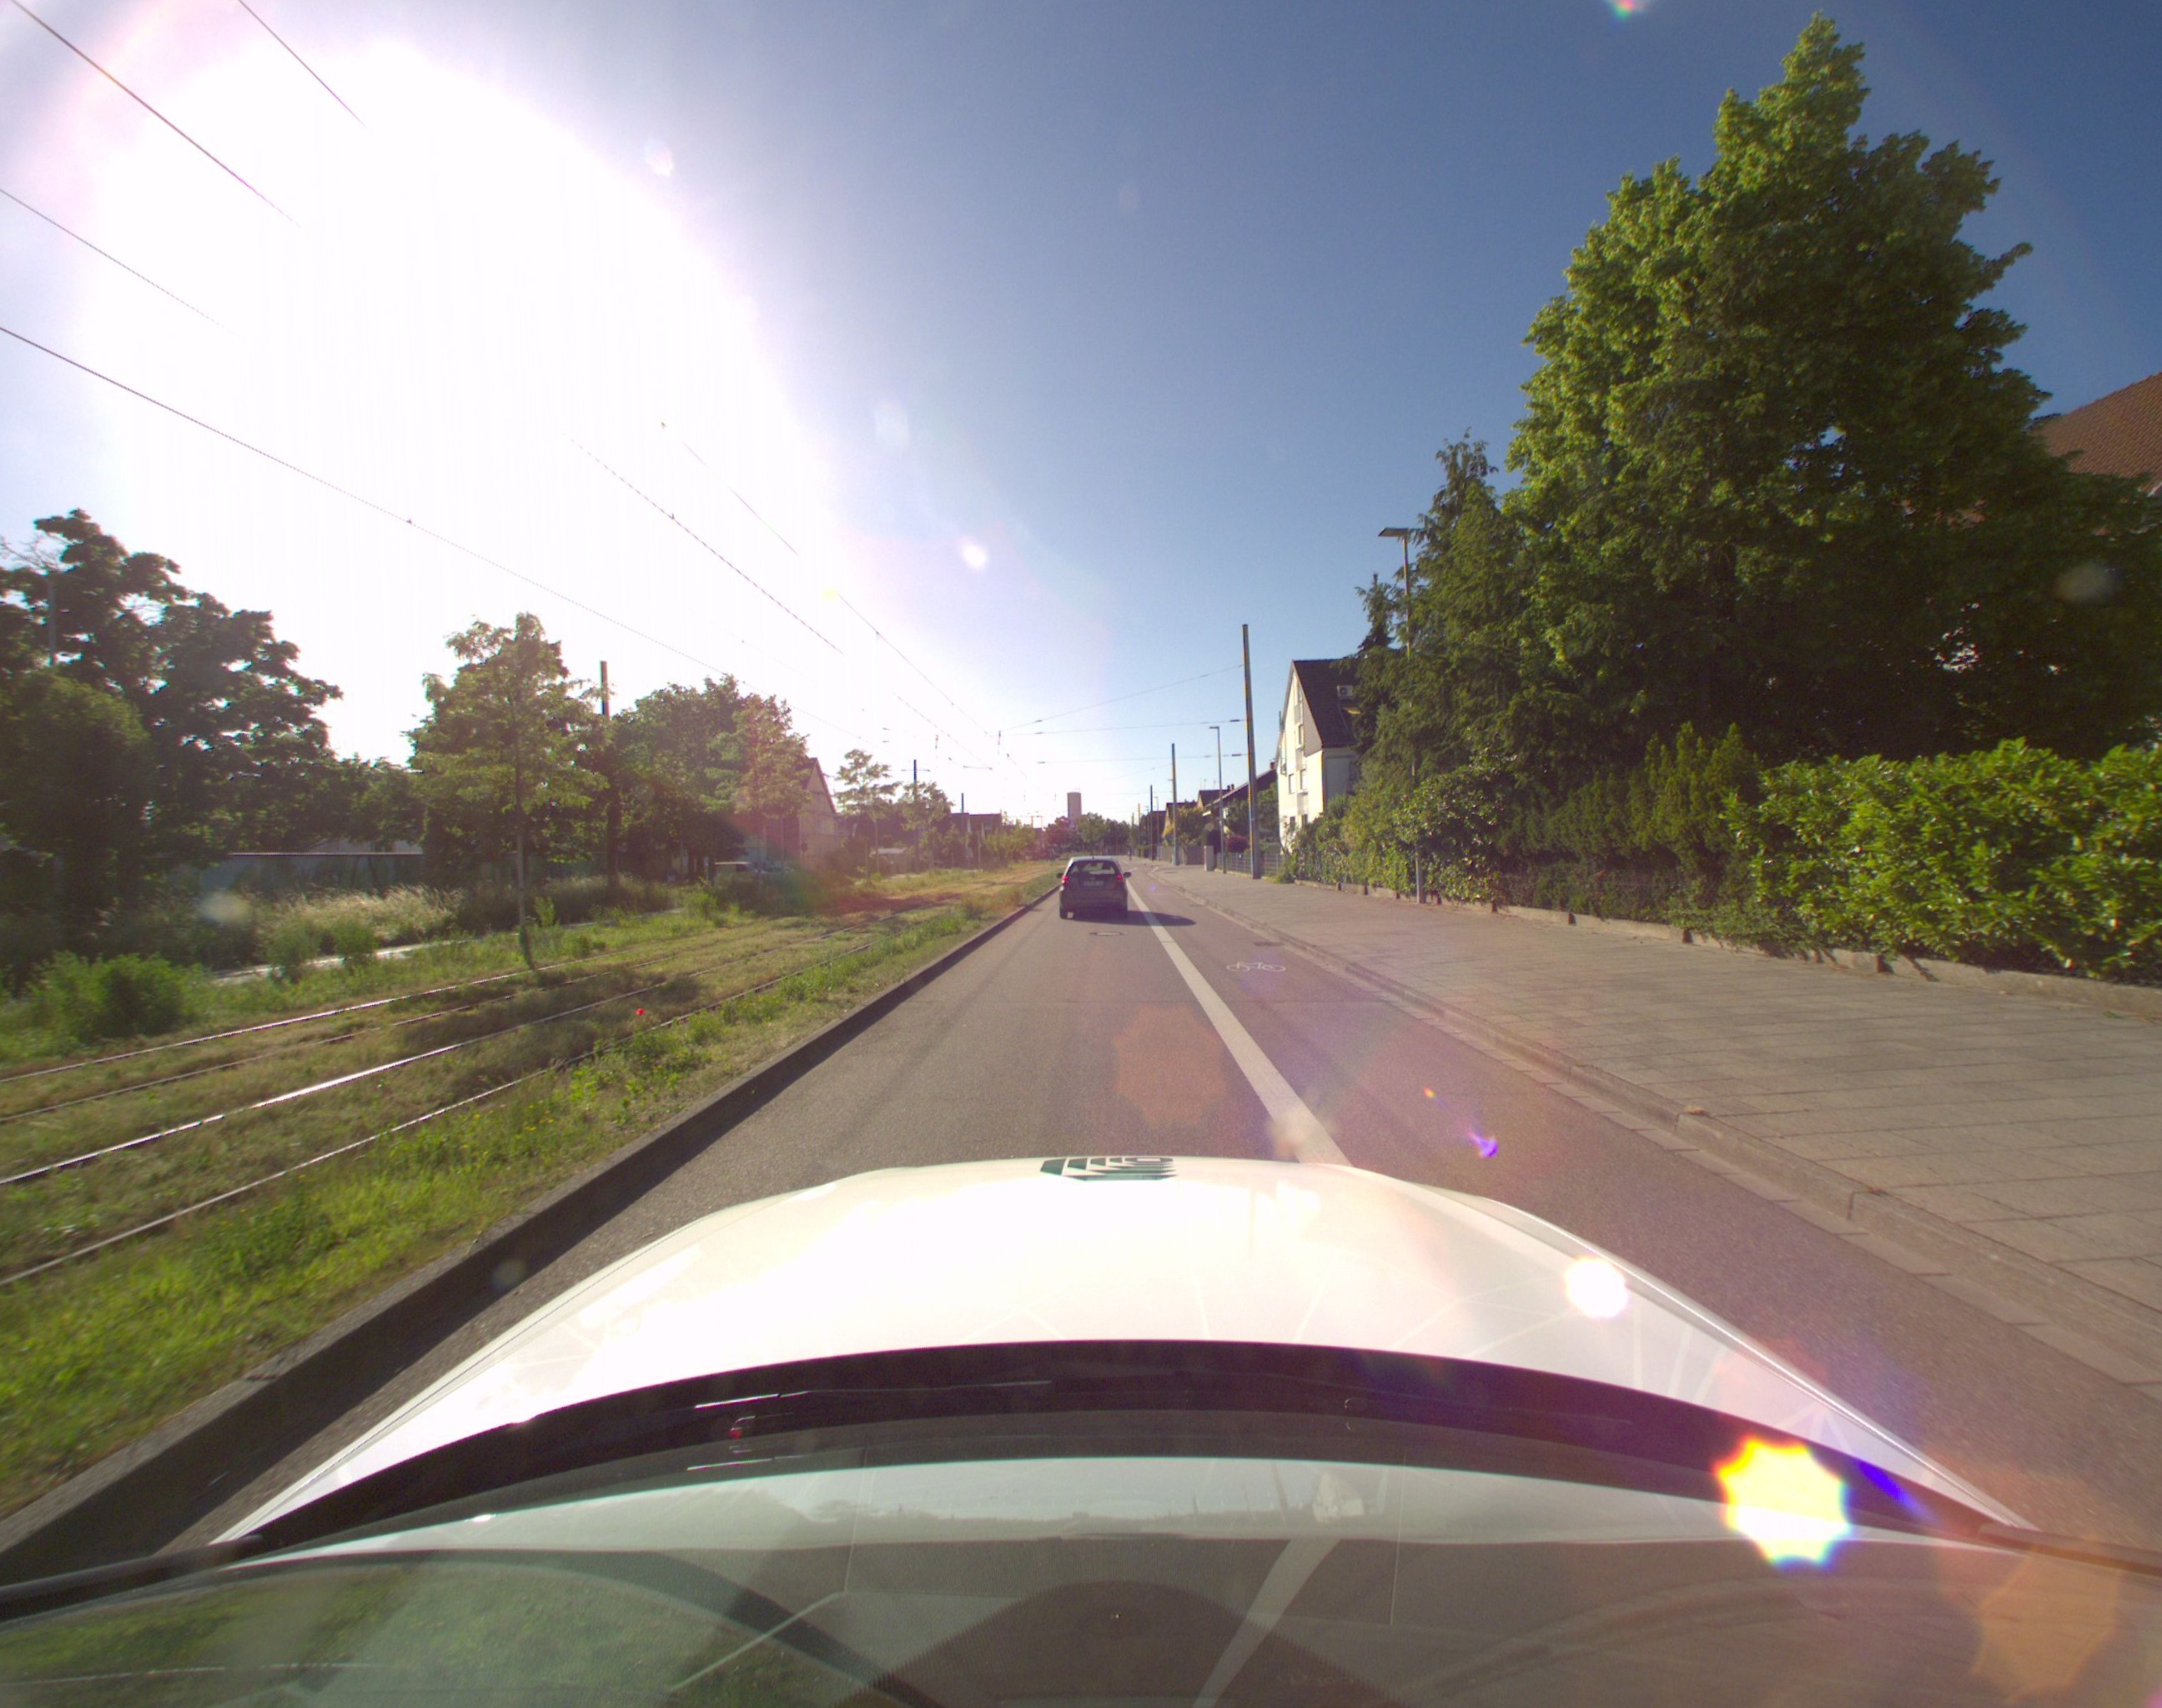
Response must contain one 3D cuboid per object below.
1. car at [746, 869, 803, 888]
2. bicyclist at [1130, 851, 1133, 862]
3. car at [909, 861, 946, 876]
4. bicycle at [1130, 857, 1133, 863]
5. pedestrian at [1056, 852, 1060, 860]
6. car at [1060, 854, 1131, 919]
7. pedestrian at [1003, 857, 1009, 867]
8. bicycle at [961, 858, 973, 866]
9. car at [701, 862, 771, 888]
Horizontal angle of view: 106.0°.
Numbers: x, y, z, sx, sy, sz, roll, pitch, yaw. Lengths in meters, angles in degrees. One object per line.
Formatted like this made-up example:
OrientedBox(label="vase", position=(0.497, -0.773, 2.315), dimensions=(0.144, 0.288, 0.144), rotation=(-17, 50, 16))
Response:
OrientedBox(label="car", position=(-25.533, 2.027, 67.953), dimensions=(3.973, 1.404, 1.853), rotation=(-2, -3, 0))
OrientedBox(label="bicyclist", position=(8.195, 0.425, 132.125), dimensions=(0.596, 1.701, 0.684), rotation=(0, -1, 2))
OrientedBox(label="car", position=(-19.563, 1.869, 103.717), dimensions=(4.540, 1.734, 2.046), rotation=(-2, 0, -10))
OrientedBox(label="bicycle", position=(8.241, 0.986, 132.241), dimensions=(0.473, 0.961, 1.658), rotation=(0, -1, 2))
OrientedBox(label="pedestrian", position=(-4.577, 0.456, 160.471), dimensions=(0.673, 1.535, 0.748), rotation=(-2, 0, -3))
OrientedBox(label="car", position=(0.354, 0.796, 21.018), dimensions=(1.665, 1.536, 3.486), rotation=(0, -1, 0))
OrientedBox(label="pedestrian", position=(-12.376, 1.381, 134.343), dimensions=(0.961, 1.640, 1.086), rotation=(-2, -1, 1))
OrientedBox(label="bicycle", position=(-20.922, 1.530, 149.588), dimensions=(1.985, 1.365, 0.704), rotation=(-2, -1, -5))
OrientedBox(label="car", position=(-27.541, 1.667, 65.120), dimensions=(4.669, 1.914, 1.904), rotation=(-2, 0, 1))
